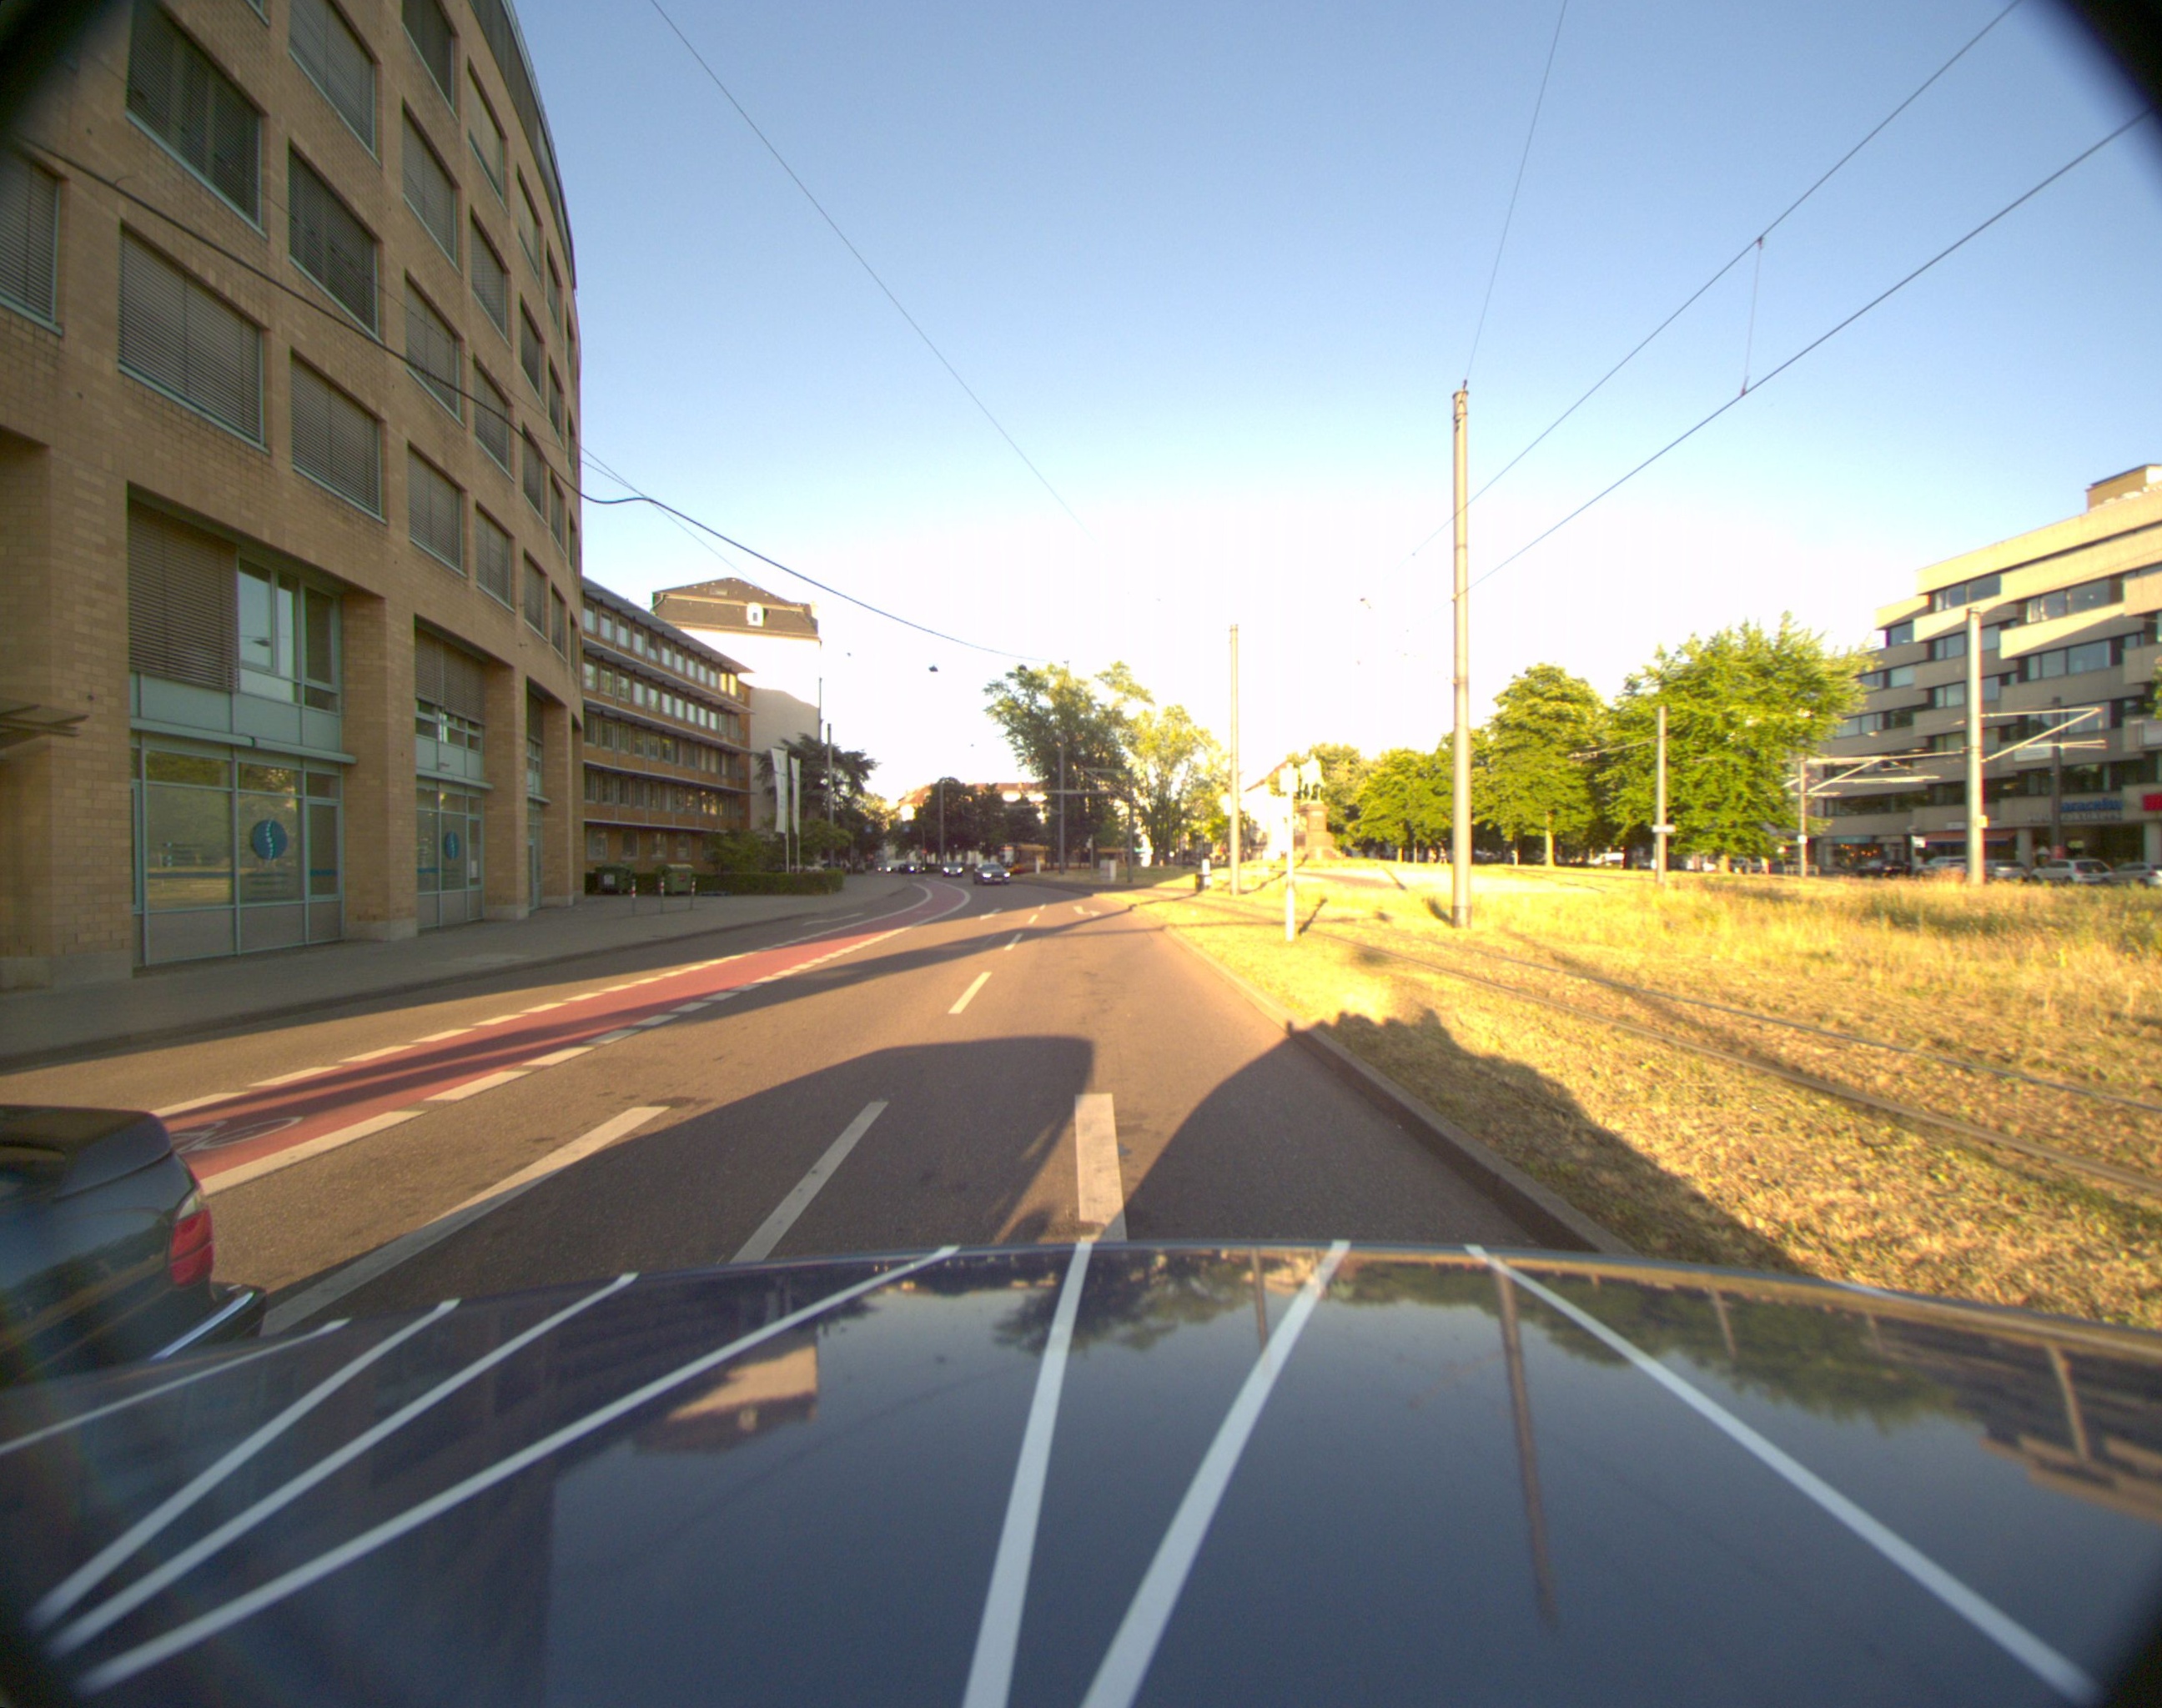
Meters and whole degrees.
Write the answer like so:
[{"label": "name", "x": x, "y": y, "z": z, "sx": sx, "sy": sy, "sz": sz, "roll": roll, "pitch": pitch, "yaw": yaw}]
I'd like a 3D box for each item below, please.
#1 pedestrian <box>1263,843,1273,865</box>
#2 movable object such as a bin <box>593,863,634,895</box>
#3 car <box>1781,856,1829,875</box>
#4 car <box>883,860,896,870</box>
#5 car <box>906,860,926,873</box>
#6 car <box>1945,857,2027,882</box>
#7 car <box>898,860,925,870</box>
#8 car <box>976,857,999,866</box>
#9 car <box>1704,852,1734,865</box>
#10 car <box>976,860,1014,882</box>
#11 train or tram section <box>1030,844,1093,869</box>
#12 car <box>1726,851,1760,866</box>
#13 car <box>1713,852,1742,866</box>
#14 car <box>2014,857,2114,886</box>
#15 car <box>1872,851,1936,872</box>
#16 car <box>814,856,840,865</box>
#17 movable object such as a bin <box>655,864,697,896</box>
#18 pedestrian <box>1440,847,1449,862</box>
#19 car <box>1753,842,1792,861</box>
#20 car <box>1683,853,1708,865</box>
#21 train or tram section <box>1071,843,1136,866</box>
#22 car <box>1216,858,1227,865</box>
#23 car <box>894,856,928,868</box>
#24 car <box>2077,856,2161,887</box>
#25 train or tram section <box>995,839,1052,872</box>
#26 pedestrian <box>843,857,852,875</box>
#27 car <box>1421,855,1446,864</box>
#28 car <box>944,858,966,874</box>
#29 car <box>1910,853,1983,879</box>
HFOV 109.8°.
[{"label": "pedestrian", "x": 14.424, "y": -0.013, "z": 58.623, "sx": 0.476, "sy": 1.680, "sz": 0.835, "roll": 0, "pitch": 0, "yaw": -14}, {"label": "movable object such as a bin", "x": -21.257, "y": 1.126, "z": 34.563, "sx": 1.345, "sy": 1.415, "sz": 0.923, "roll": 0, "pitch": -1, "yaw": -7}, {"label": "car", "x": 70.312, "y": 1.162, "z": 73.863, "sx": 1.935, "sy": 1.784, "sz": 4.217, "roll": -1, "pitch": -1, "yaw": 23}, {"label": "car", "x": -27.646, "y": 1.617, "z": 109.753, "sx": 1.822, "sy": 1.473, "sz": 4.131, "roll": -1, "pitch": -1, "yaw": -14}, {"label": "car", "x": -19.434, "y": 1.448, "z": 89.225, "sx": 1.823, "sy": 1.473, "sz": 4.129, "roll": 0, "pitch": -1, "yaw": -19}, {"label": "car", "x": 58.531, "y": 1.002, "z": 49.226, "sx": 1.755, "sy": 1.542, "sz": 4.007, "roll": -1, "pitch": -1, "yaw": 23}, {"label": "car", "x": -27.163, "y": 1.815, "z": 121.778, "sx": 4.067, "sy": 1.542, "sz": 1.999, "roll": 0, "pitch": -1, "yaw": -6}, {"label": "car", "x": -17.131, "y": 1.355, "z": 139.076, "sx": 4.011, "sy": 1.714, "sz": 1.701, "roll": 0, "pitch": -1, "yaw": -1}, {"label": "car", "x": 74.437, "y": 0.568, "z": 88.683, "sx": 1.707, "sy": 1.382, "sz": 4.008, "roll": -1, "pitch": -1, "yaw": 24}, {"label": "car", "x": -5.843, "y": 1.144, "z": 51.255, "sx": 1.822, "sy": 1.473, "sz": 4.130, "roll": 0, "pitch": -1, "yaw": -17}, {"label": "train or tram section", "x": -2.399, "y": 0.256, "z": 101.015, "sx": 2.925, "sy": 3.123, "sz": 12.878, "roll": -1, "pitch": 0, "yaw": 25}, {"label": "car", "x": 76.117, "y": 0.532, "z": 87.372, "sx": 1.755, "sy": 1.653, "sz": 4.007, "roll": -1, "pitch": -1, "yaw": 23}, {"label": "car", "x": 78.560, "y": 0.630, "z": 92.359, "sx": 1.793, "sy": 1.570, "sz": 4.008, "roll": -1, "pitch": -1, "yaw": 27}, {"label": "car", "x": 56.335, "y": 1.002, "z": 43.654, "sx": 1.755, "sy": 1.542, "sz": 4.007, "roll": -1, "pitch": -1, "yaw": 23}, {"label": "car", "x": 64.323, "y": 0.594, "z": 59.464, "sx": 1.861, "sy": 1.547, "sz": 4.076, "roll": -1, "pitch": -1, "yaw": 23}, {"label": "car", "x": -45.530, "y": 1.242, "z": 136.152, "sx": 4.404, "sy": 1.603, "sz": 1.726, "roll": 0, "pitch": -1, "yaw": -23}, {"label": "movable object such as a bin", "x": -18.227, "y": 1.167, "z": 34.221, "sx": 0.972, "sy": 1.429, "sz": 1.347, "roll": -1, "pitch": -1, "yaw": 19}, {"label": "pedestrian", "x": 38.243, "y": 0.052, "z": 79.918, "sx": 0.619, "sy": 1.571, "sz": 0.553, "roll": 0, "pitch": -1, "yaw": 2}, {"label": "car", "x": 72.764, "y": -0.260, "z": 80.019, "sx": 1.755, "sy": 1.932, "sz": 4.217, "roll": -1, "pitch": -1, "yaw": 23}, {"label": "car", "x": 83.889, "y": 0.675, "z": 103.735, "sx": 1.793, "sy": 1.570, "sz": 4.008, "roll": -1, "pitch": -1, "yaw": 27}, {"label": "train or tram section", "x": 3.493, "y": 0.023, "z": 111.305, "sx": 2.918, "sy": 3.123, "sz": 12.671, "roll": 0, "pitch": 0, "yaw": 36}, {"label": "car", "x": 32.586, "y": 1.765, "z": 176.153, "sx": 1.723, "sy": 1.542, "sz": 3.968, "roll": 0, "pitch": -1, "yaw": 1}, {"label": "car", "x": -28.272, "y": 1.321, "z": 126.283, "sx": 5.078, "sy": 1.891, "sz": 2.122, "roll": 0, "pitch": -1, "yaw": 2}, {"label": "car", "x": 53.992, "y": 0.903, "z": 39.065, "sx": 1.755, "sy": 1.542, "sz": 4.008, "roll": -1, "pitch": -1, "yaw": 26}, {"label": "train or tram section", "x": -6.458, "y": 0.124, "z": 88.915, "sx": 2.945, "sy": 3.563, "sz": 13.379, "roll": -1, "pitch": 0, "yaw": 12}, {"label": "pedestrian", "x": -23.894, "y": 1.250, "z": 77.659, "sx": 0.591, "sy": 1.781, "sz": 0.822, "roll": 0, "pitch": -1, "yaw": 11}, {"label": "car", "x": 66.579, "y": 1.035, "z": 143.579, "sx": 3.998, "sy": 1.695, "sz": 1.859, "roll": 0, "pitch": -1, "yaw": -4}, {"label": "car", "x": -12.642, "y": 1.214, "z": 76.187, "sx": 1.822, "sy": 1.473, "sz": 4.131, "roll": 0, "pitch": -1, "yaw": -15}, {"label": "car", "x": 61.329, "y": 0.865, "z": 53.923, "sx": 1.755, "sy": 1.784, "sz": 4.217, "roll": -1, "pitch": -1, "yaw": 23}]
